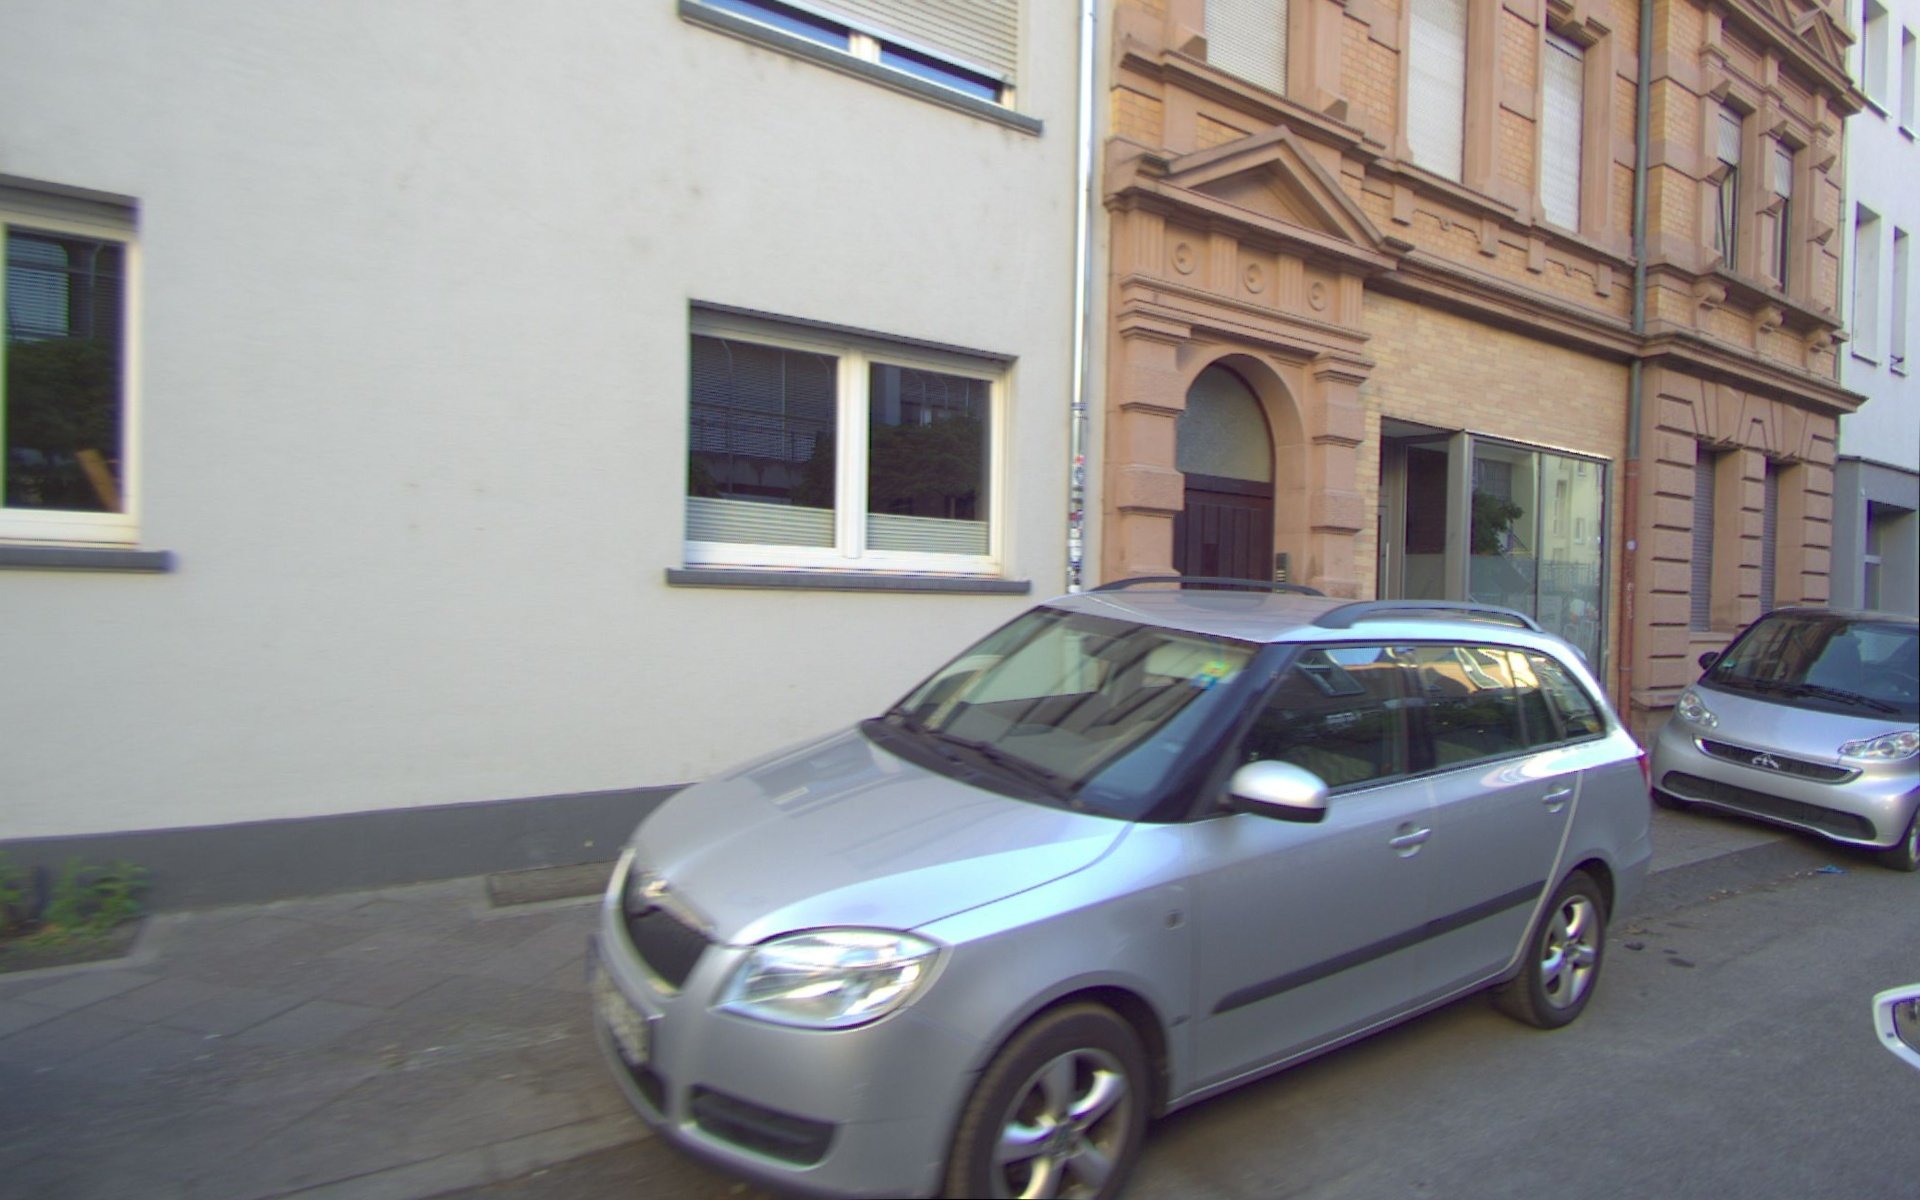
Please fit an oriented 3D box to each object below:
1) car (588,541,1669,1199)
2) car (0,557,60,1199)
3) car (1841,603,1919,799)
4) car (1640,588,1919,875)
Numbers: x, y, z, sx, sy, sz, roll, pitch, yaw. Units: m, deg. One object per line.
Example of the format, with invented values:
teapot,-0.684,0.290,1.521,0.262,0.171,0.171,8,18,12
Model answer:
car,0.757,0.660,3.479,3.560,1.529,1.545,1,3,-34
car,-3.191,0.616,0.764,3.519,1.449,1.621,1,1,-35
car,9.876,0.898,9.156,3.971,1.621,1.730,1,1,-33
car,6.380,0.793,7.236,2.763,1.610,1.387,1,4,-33
